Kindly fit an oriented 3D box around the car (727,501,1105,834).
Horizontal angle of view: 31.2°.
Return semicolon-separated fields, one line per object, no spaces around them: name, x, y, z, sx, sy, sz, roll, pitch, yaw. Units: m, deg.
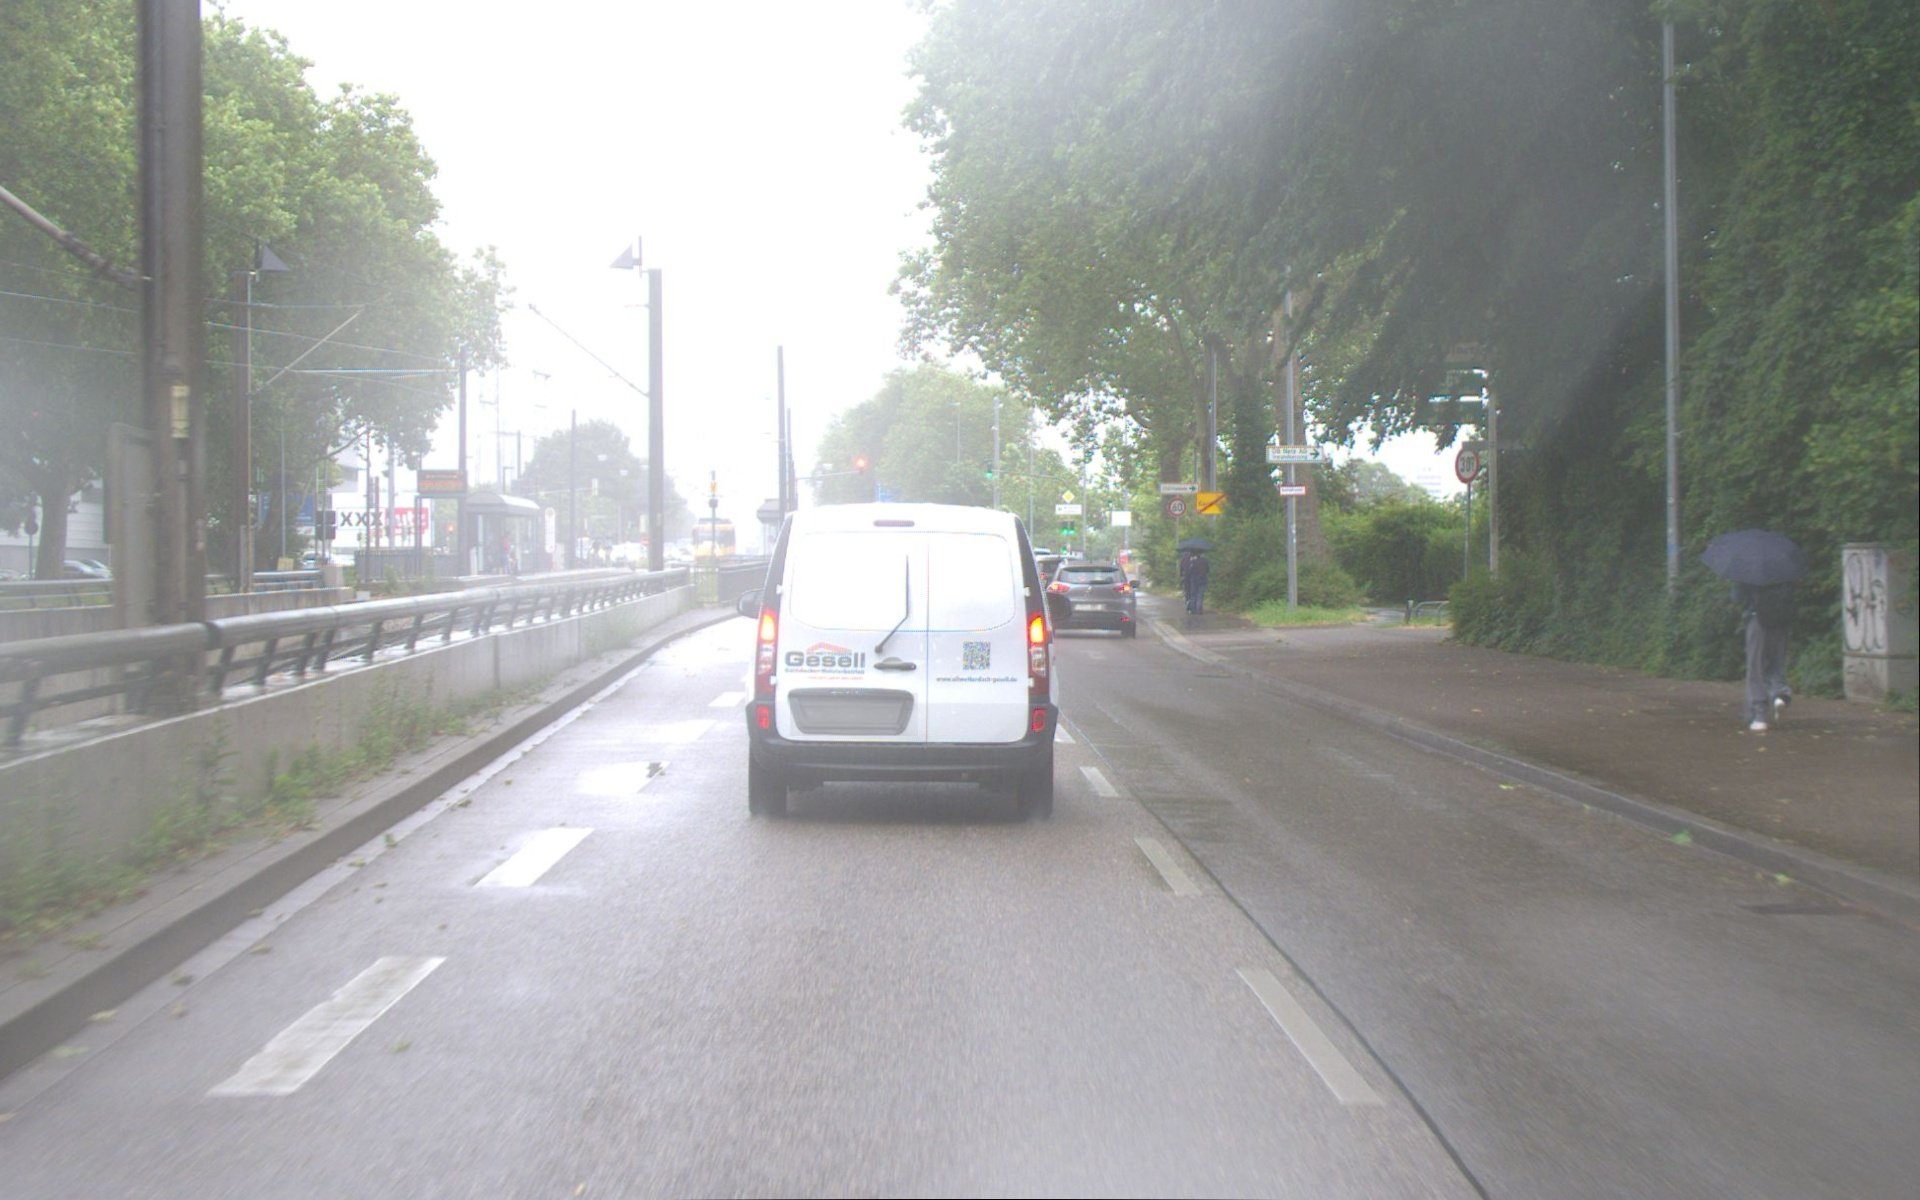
car;-0.336;0.336;20.923;2.024;1.769;4.275;1;1;-3

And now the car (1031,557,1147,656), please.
car;2.402;0.100;64.851;1.993;1.744;4.000;2;1;0

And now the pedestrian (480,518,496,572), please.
pedestrian;-17.849;-2.073;129.907;0.493;2.007;0.583;1;1;-14

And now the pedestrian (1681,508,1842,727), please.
pedestrian;6.389;0.131;27.452;0.966;1.696;1.141;1;1;-1

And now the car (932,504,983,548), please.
car;-0.116;-3.050;141.887;1.993;1.744;4.000;2;1;-1

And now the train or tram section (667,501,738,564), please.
train or tram section;-17.754;-4.640;238.835;3.770;4.022;27.096;1;1;-2

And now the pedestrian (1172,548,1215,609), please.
pedestrian;5.496;-0.513;80.956;0.892;1.385;1.016;-2;1;1

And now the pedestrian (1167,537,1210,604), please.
pedestrian;5.508;-0.720;83.002;0.947;1.583;1.294;-1;1;0
